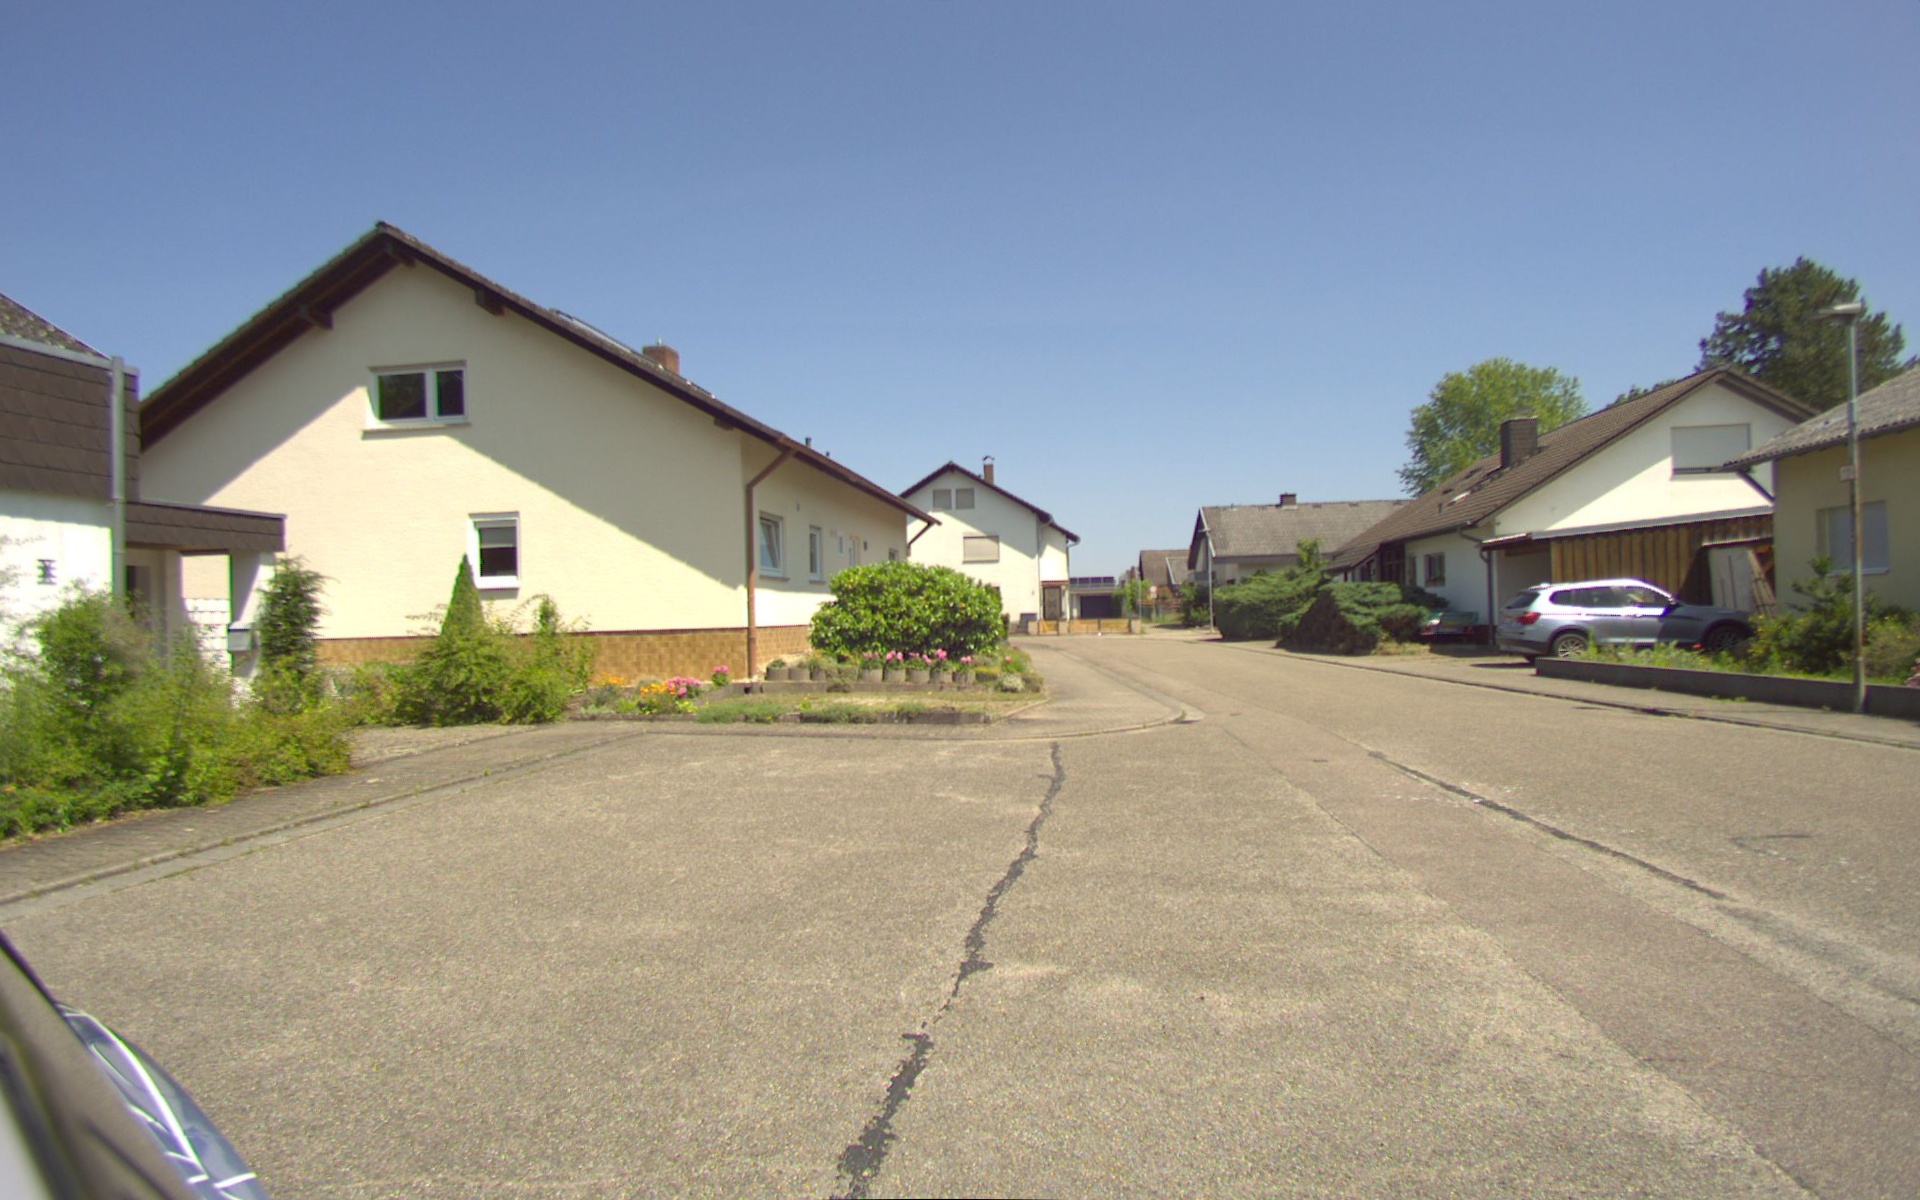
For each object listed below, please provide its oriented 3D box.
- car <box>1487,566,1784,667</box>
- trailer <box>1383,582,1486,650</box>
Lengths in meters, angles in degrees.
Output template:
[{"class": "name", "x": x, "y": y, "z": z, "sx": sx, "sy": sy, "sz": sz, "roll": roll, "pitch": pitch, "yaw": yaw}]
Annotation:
[{"class": "car", "x": 13.502, "y": 0.352, "z": 20.513, "sx": 4.592, "sy": 1.715, "sz": 1.704, "roll": -3, "pitch": -1, "yaw": 11}, {"class": "trailer", "x": 13.140, "y": 0.427, "z": 28.235, "sx": 1.573, "sy": 1.685, "sz": 3.289, "roll": -3, "pitch": 0, "yaw": 8}]
